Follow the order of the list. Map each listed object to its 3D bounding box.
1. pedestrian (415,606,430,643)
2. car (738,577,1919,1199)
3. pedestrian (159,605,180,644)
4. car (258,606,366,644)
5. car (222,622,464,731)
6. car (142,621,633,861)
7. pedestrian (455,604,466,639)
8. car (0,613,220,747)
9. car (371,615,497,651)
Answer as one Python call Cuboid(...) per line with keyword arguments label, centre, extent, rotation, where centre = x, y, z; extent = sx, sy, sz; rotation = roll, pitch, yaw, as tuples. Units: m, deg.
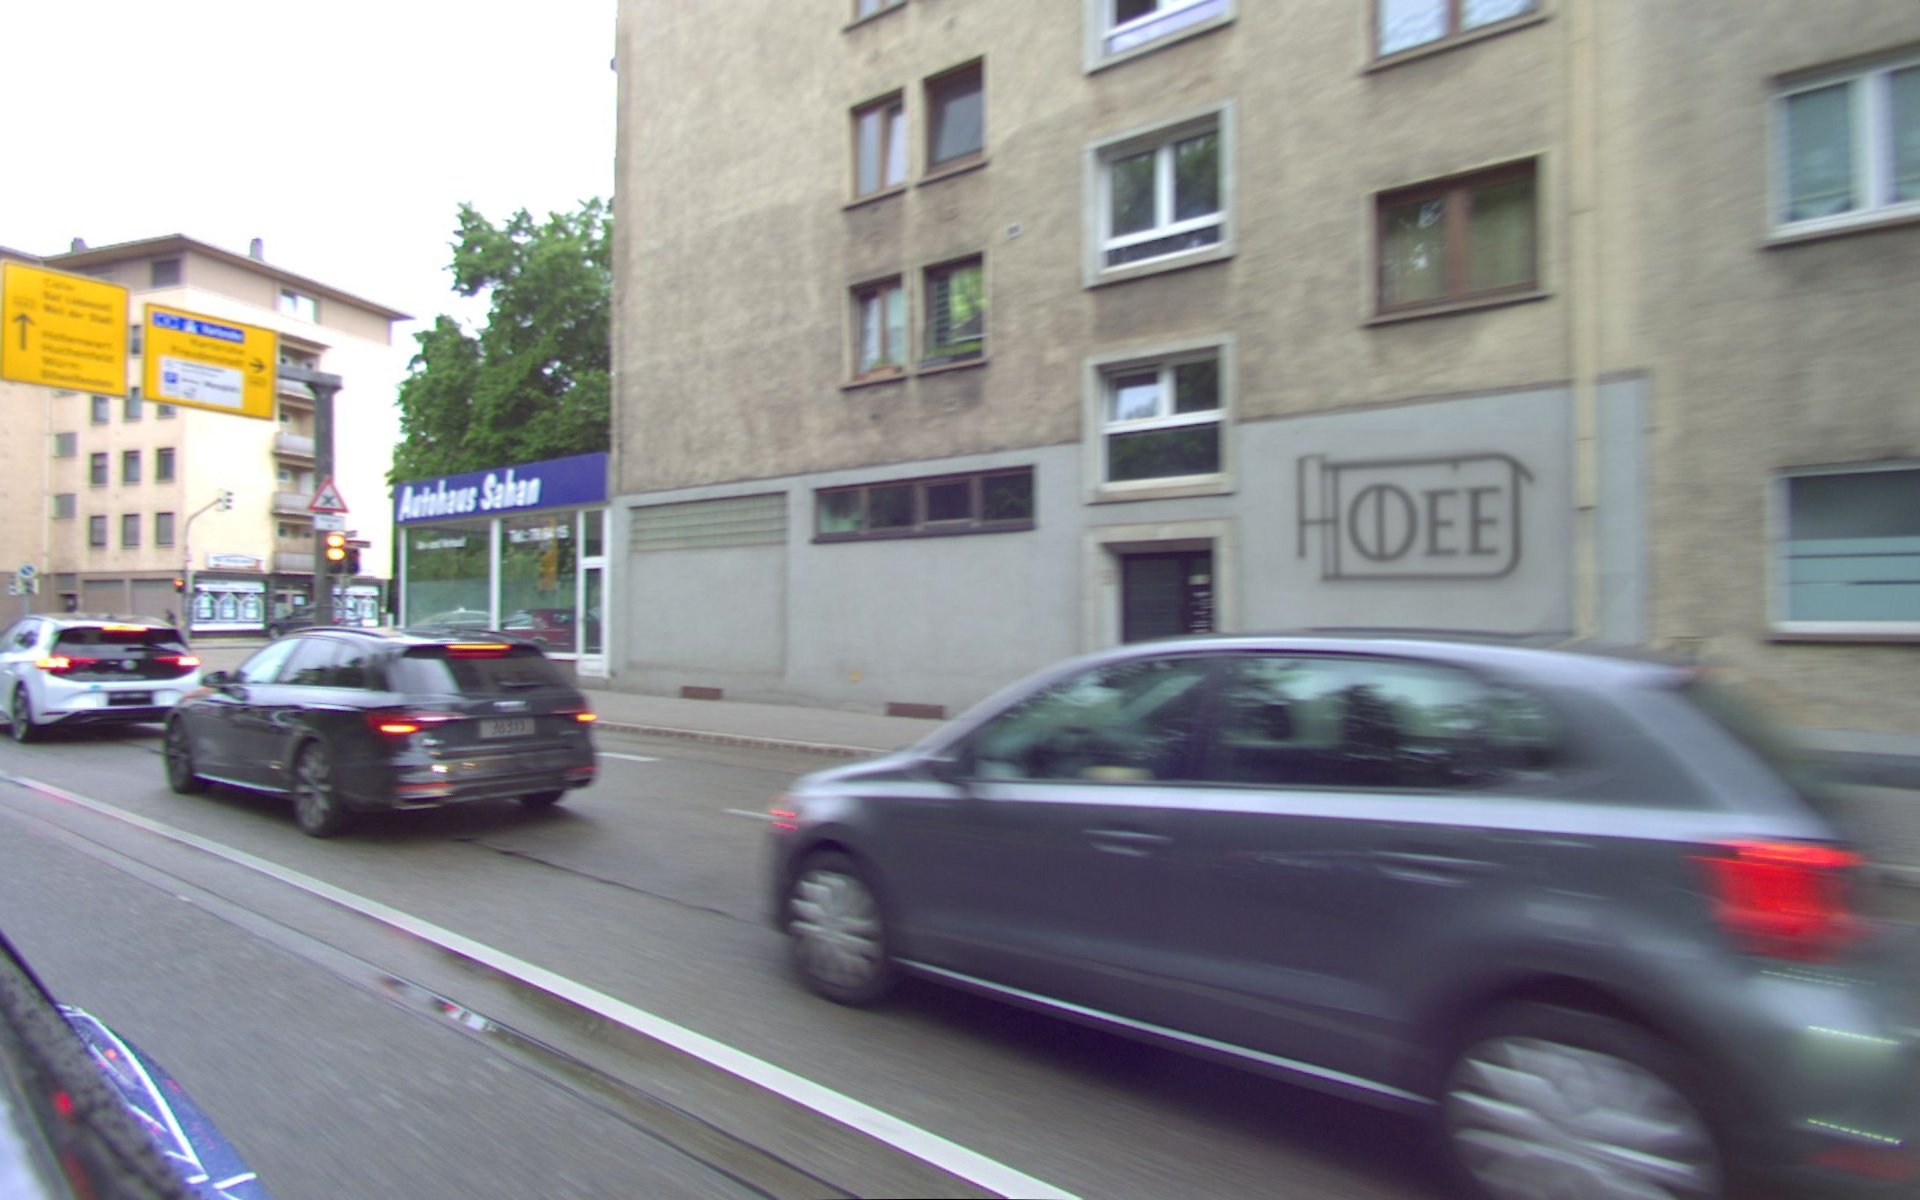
Cuboid(label="pedestrian", centre=(-26.428, 1.204, 49.796), extent=(0.550, 1.817, 0.477), rotation=(0, -1, -14))
Cuboid(label="car", centre=(1.092, 0.736, 3.529), extent=(3.817, 1.458, 1.662), rotation=(-1, -3, 40))
Cuboid(label="pedestrian", centre=(-33.818, 1.032, 43.288), extent=(0.618, 1.651, 0.574), rotation=(-1, -2, 41))
Cuboid(label="car", centre=(-30.603, 1.173, 47.819), extent=(4.235, 1.660, 1.754), rotation=(1, 0, 11))
Cuboid(label="car", centre=(-9.433, 1.084, 15.381), extent=(3.990, 1.467, 1.643), rotation=(-1, -3, 35))
Cuboid(label="car", centre=(-4.771, 0.891, 8.144), extent=(4.618, 1.418, 1.773), rotation=(-1, -2, 38))
Cuboid(label="pedestrian", centre=(-25.441, 1.092, 51.542), extent=(0.500, 1.817, 0.499), rotation=(0, -1, -28))
Cuboid(label="car", centre=(-11.638, 0.954, 13.345), extent=(4.206, 1.507, 1.769), rotation=(-1, -3, 35))
Cuboid(label="car", centre=(-22.685, 1.396, 43.831), extent=(1.996, 1.474, 4.451), rotation=(-1, -1, 36))
